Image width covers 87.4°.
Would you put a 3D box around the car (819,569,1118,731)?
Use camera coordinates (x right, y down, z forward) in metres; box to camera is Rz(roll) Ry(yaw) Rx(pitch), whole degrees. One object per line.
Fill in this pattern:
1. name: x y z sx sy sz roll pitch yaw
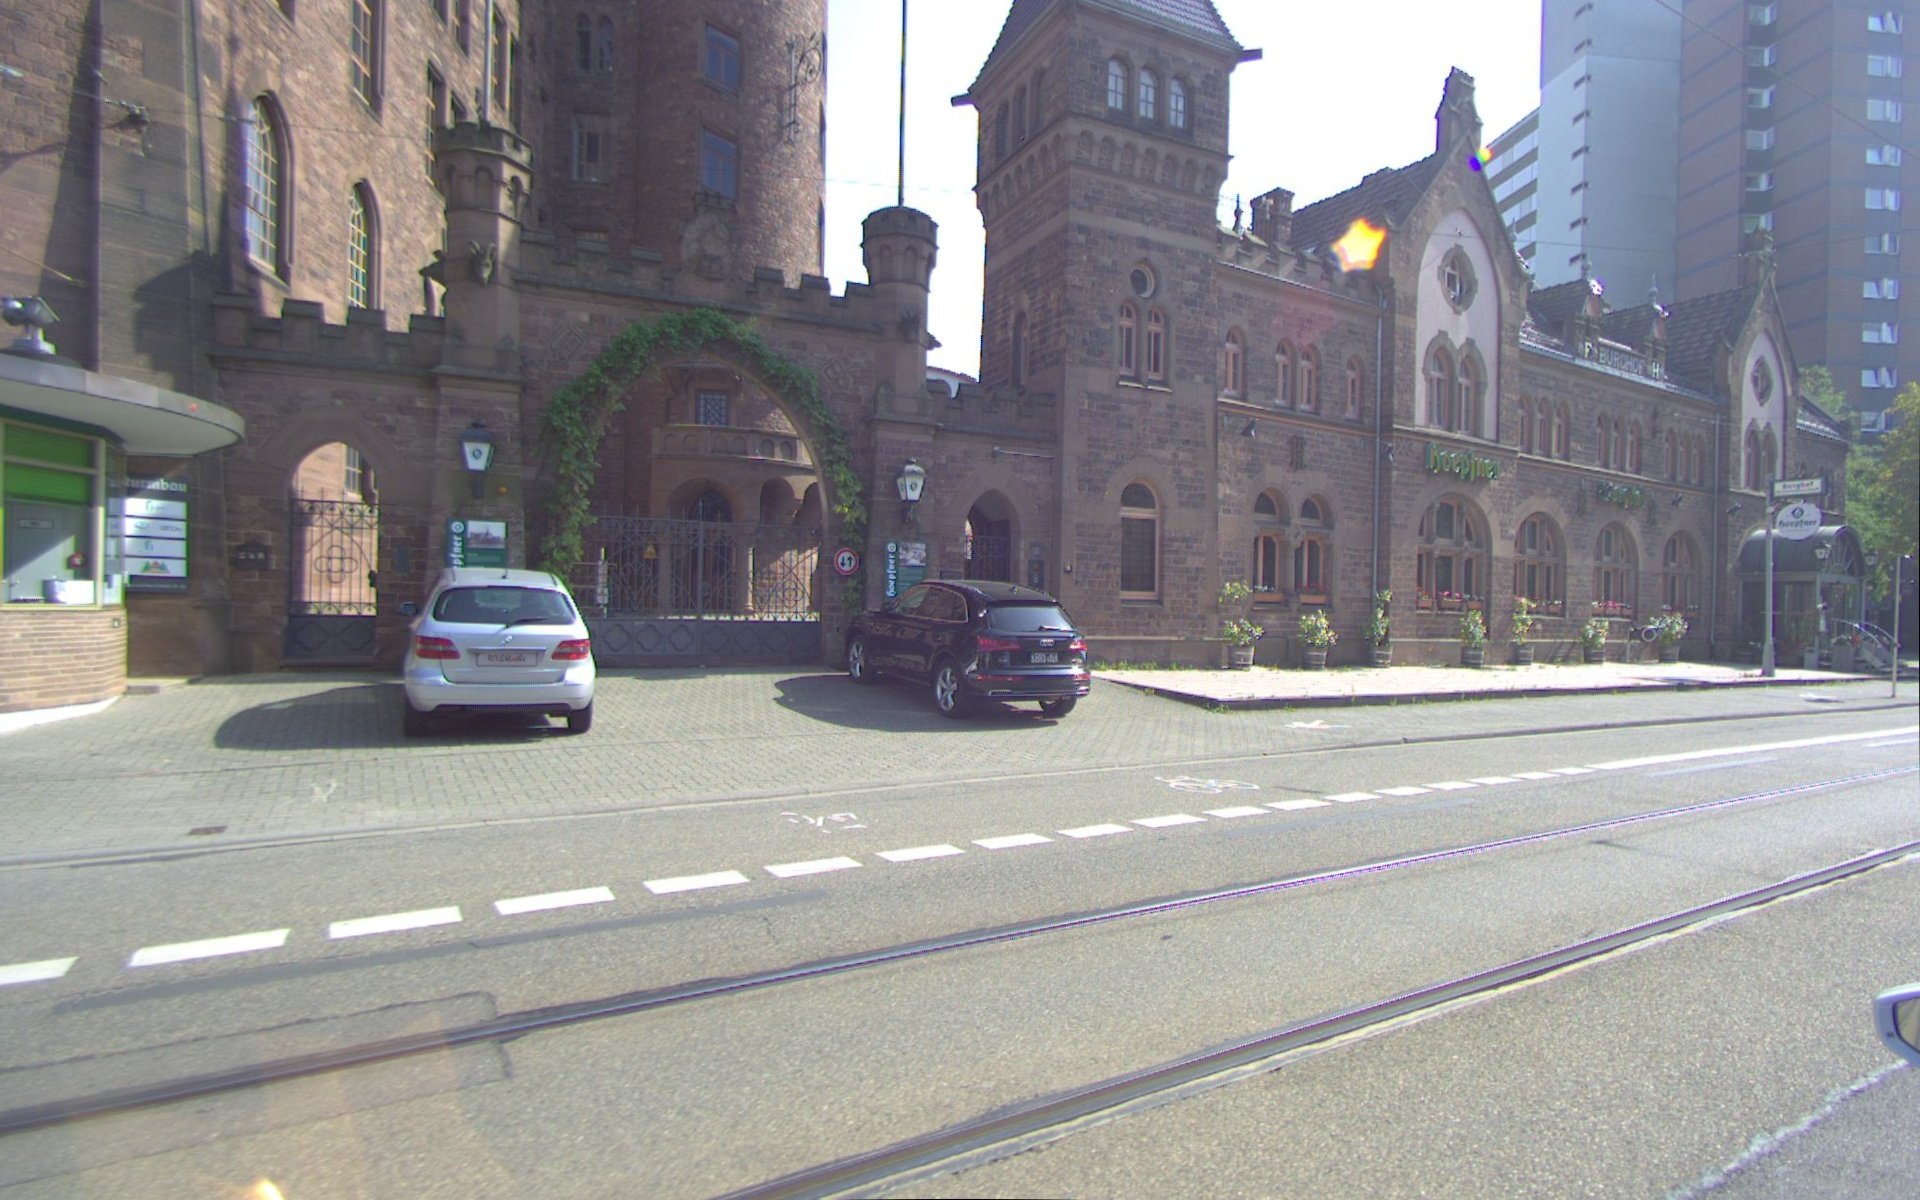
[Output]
1. car: -0.083 0.538 13.794 1.936 1.668 4.369 2 3 -34

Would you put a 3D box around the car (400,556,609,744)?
1. car: -5.250 0.408 11.351 1.800 1.617 3.882 2 3 -29
